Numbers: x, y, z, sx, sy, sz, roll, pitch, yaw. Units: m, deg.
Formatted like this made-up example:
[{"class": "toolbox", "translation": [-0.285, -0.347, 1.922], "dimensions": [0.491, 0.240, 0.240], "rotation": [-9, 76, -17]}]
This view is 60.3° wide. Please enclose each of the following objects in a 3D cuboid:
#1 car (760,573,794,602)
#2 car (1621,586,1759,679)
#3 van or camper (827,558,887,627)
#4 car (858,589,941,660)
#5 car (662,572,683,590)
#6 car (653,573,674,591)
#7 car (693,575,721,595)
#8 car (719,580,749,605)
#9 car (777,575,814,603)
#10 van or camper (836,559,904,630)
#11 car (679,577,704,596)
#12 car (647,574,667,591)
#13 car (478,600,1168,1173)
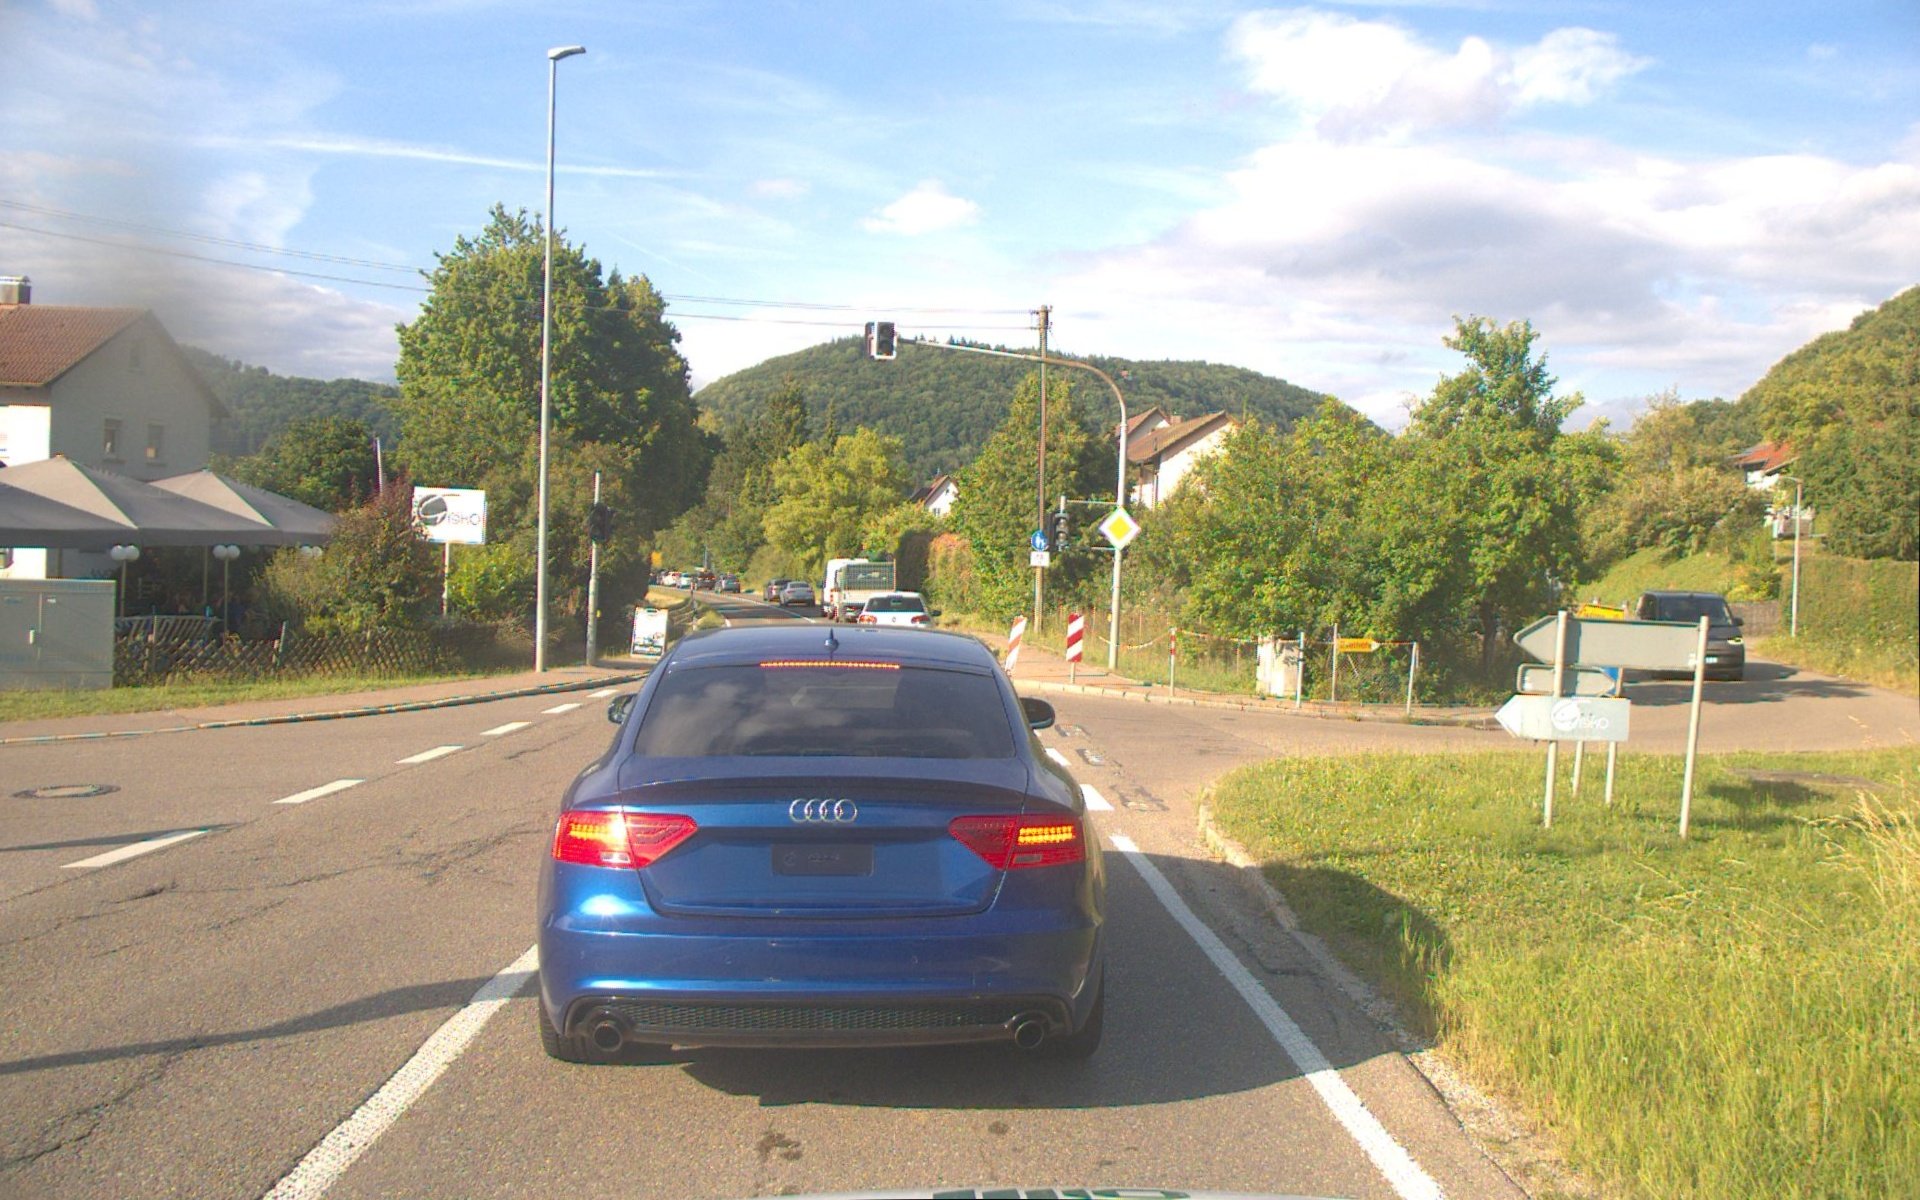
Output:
[{"class": "car", "translation": [-11.912, -0.832, 107.481], "dimensions": [1.765, 1.825, 3.988], "rotation": [0, 1, -12]}, {"class": "car", "translation": [16.934, 0.691, 38.613], "dimensions": [1.951, 1.909, 4.875], "rotation": [3, 1, 12]}, {"class": "van or camper", "translation": [-4.707, -0.368, 74.430], "dimensions": [2.369, 2.955, 6.123], "rotation": [0, 1, -7]}, {"class": "car", "translation": [-1.368, 0.514, 37.398], "dimensions": [1.736, 1.439, 4.172], "rotation": [2, 0, -2]}, {"class": "car", "translation": [-28.638, -1.916, 164.761], "dimensions": [1.720, 1.814, 3.983], "rotation": [0, 1, -16]}, {"class": "car", "translation": [-30.616, -1.898, 170.778], "dimensions": [1.743, 1.814, 3.983], "rotation": [0, 1, -16]}, {"class": "car", "translation": [-22.587, -1.381, 147.611], "dimensions": [2.007, 1.713, 3.983], "rotation": [0, 1, -16]}, {"class": "car", "translation": [-18.470, -0.638, 134.913], "dimensions": [1.960, 2.049, 3.984], "rotation": [0, 0, -15]}, {"class": "car", "translation": [-9.548, -0.649, 95.957], "dimensions": [1.787, 1.579, 3.990], "rotation": [0, 1, -11]}, {"class": "van or camper", "translation": [-3.296, -0.229, 59.655], "dimensions": [2.138, 2.426, 5.362], "rotation": [0, 1, -7]}, {"class": "car", "translation": [-25.325, -1.261, 156.122], "dimensions": [1.910, 1.713, 3.983], "rotation": [0, 0, -16]}, {"class": "car", "translation": [-32.432, -1.874, 177.208], "dimensions": [1.743, 1.814, 3.983], "rotation": [0, 1, -16]}, {"class": "car", "translation": [-0.435, 0.743, 6.437], "dimensions": [1.793, 1.433, 4.225], "rotation": [0, 0, -2]}]
